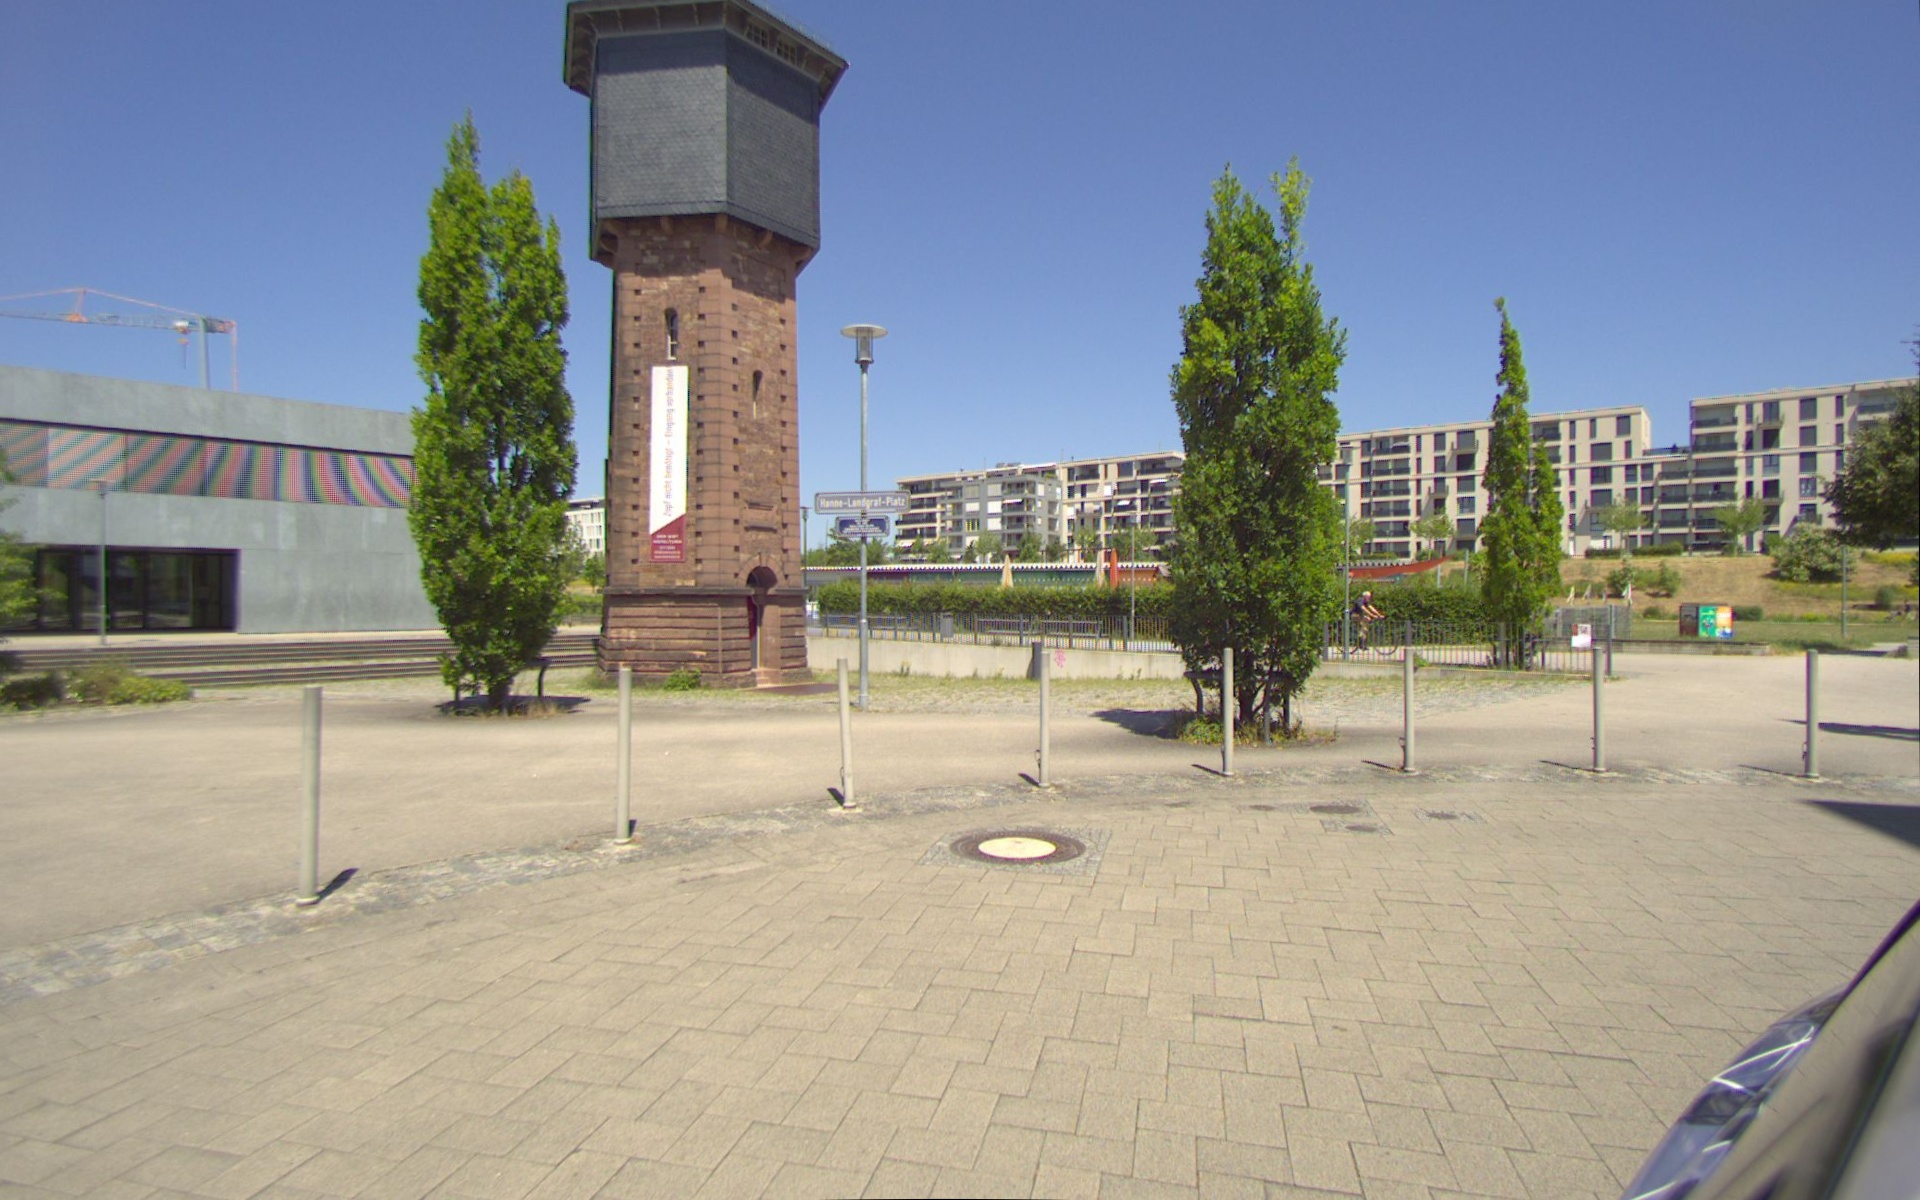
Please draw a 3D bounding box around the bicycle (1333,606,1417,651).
[{"bbox_3d":[10.921,0.733,26.699,0.784,1.132,1.914,0,0,-36],"label":"bicycle"}]

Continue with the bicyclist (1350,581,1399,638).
[{"bbox_3d":[10.928,0.254,26.678,0.844,1.474,0.882,0,-1,-37],"label":"bicyclist"}]
